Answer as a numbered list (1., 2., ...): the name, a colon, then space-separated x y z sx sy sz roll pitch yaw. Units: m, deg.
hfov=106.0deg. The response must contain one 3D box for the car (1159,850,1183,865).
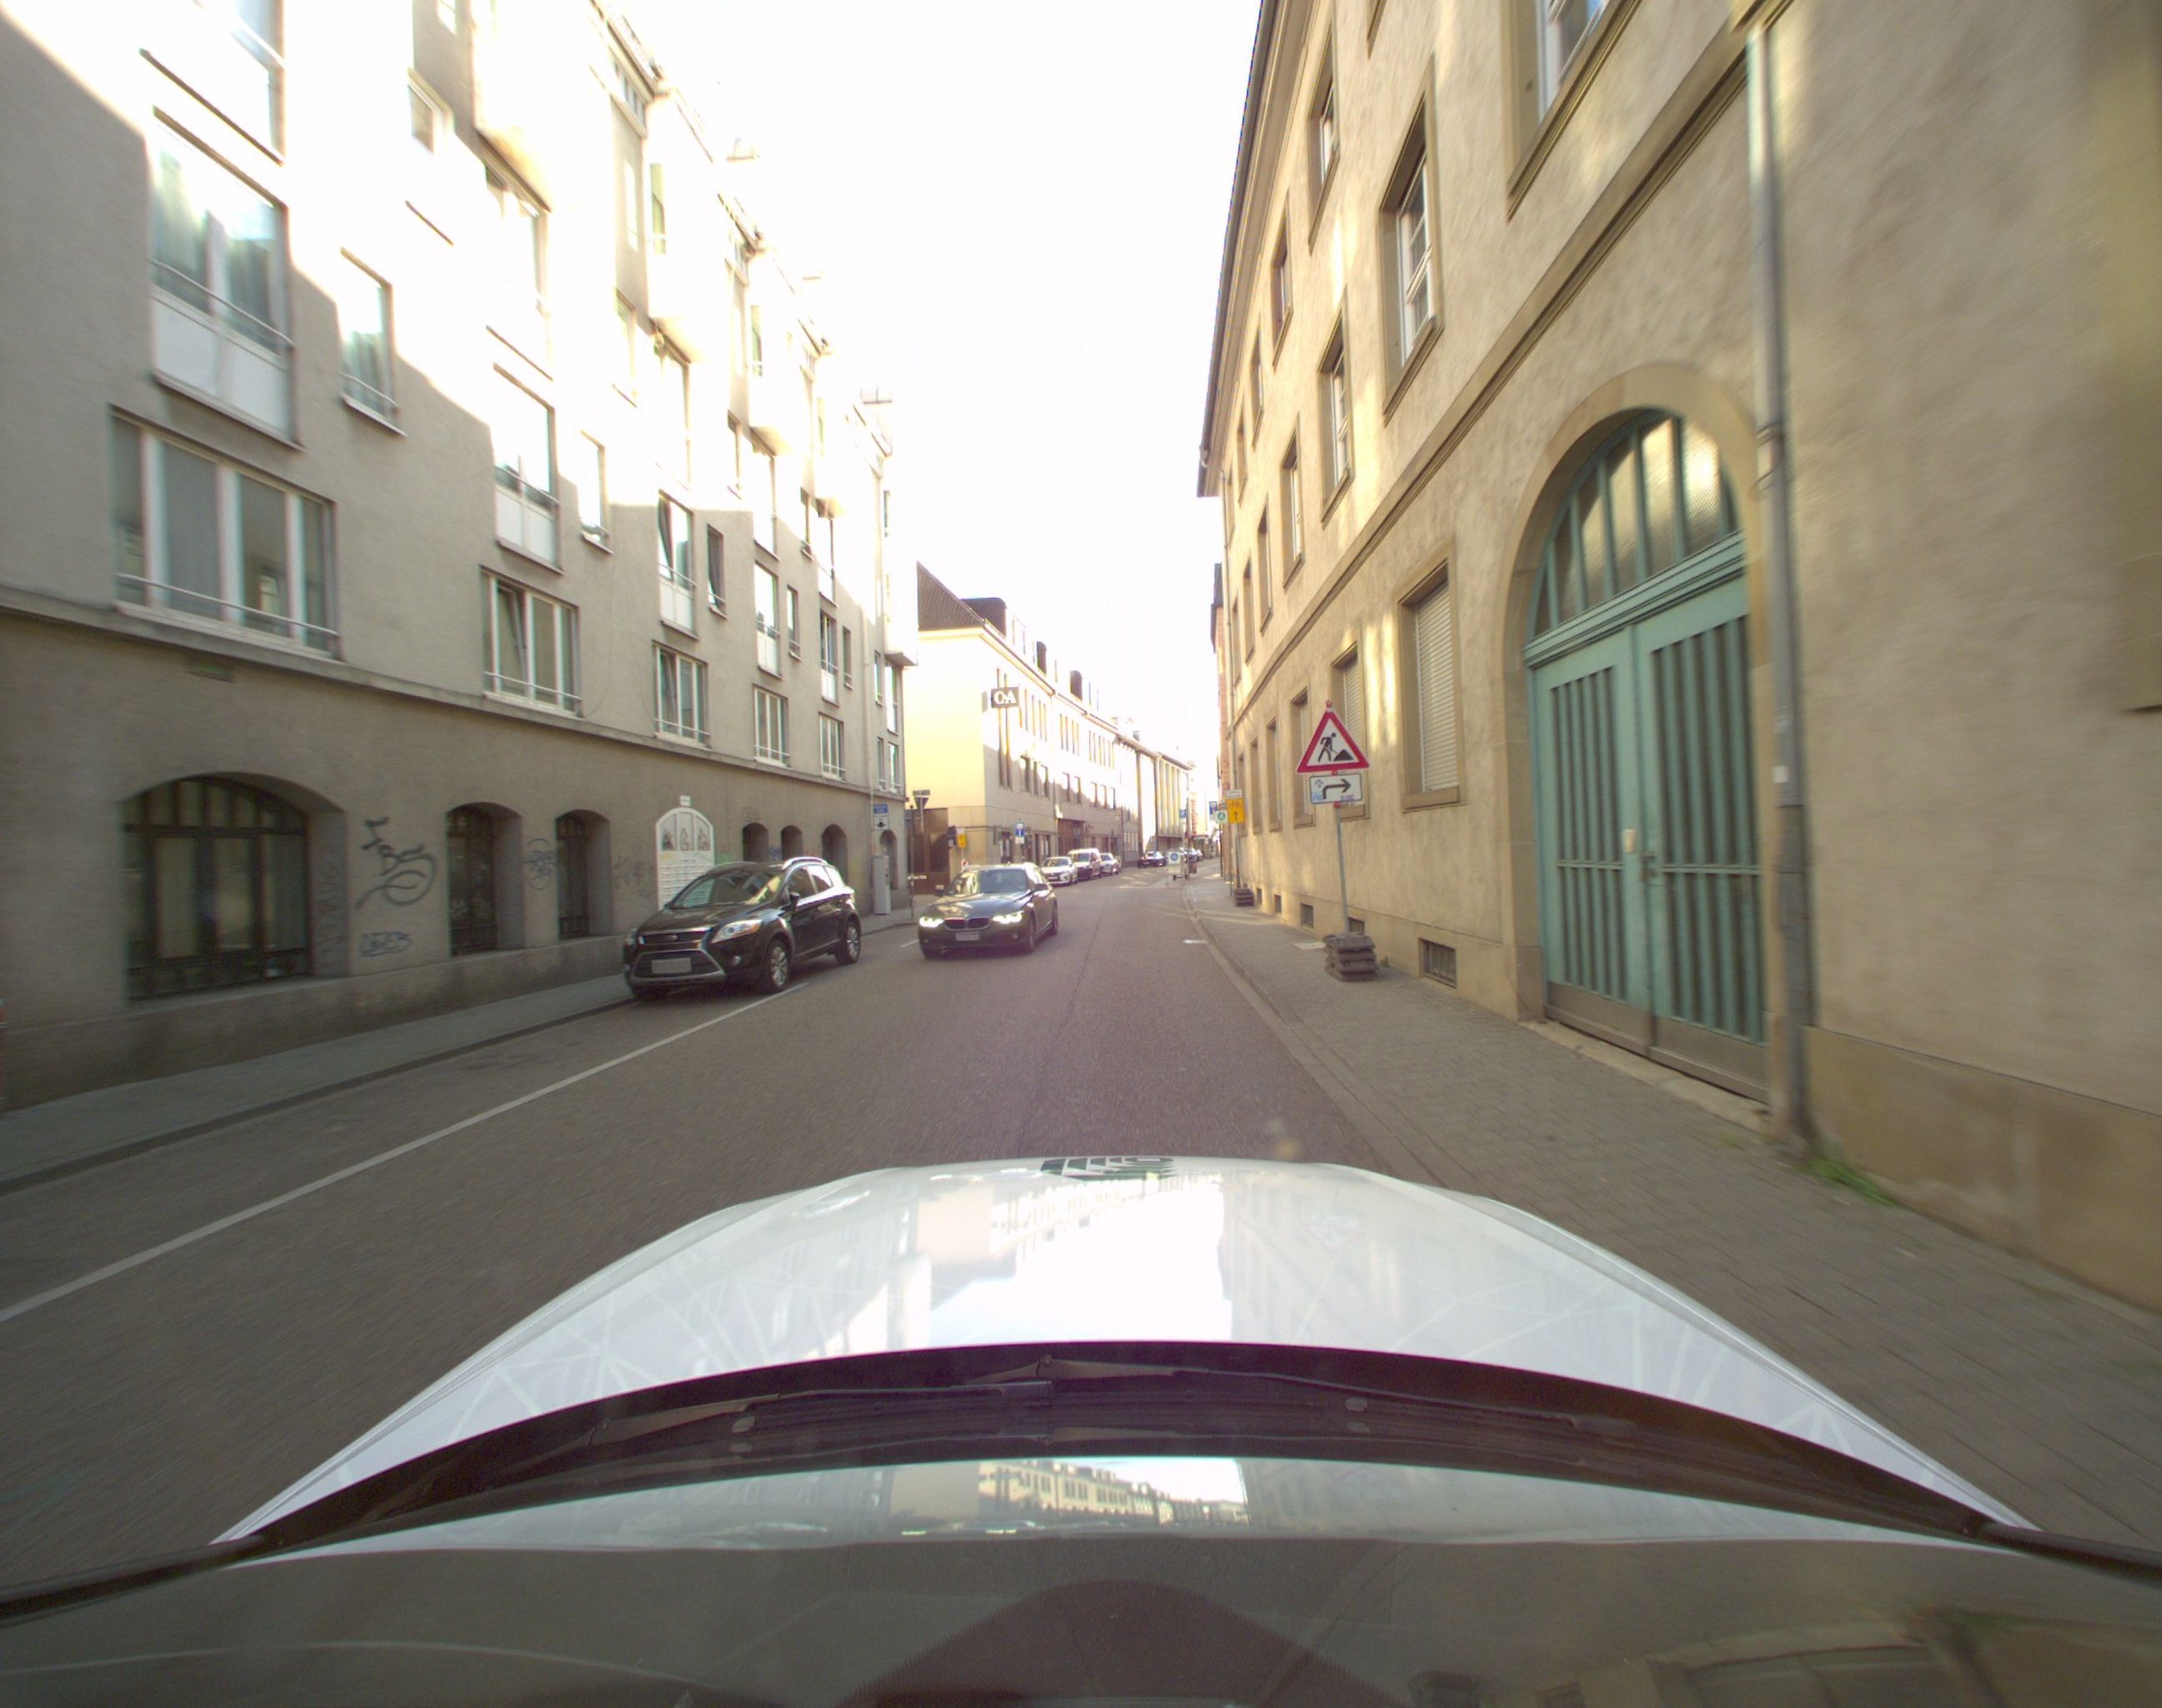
1. car: 8.856 0.317 80.113 1.711 1.340 4.017 -3 0 15

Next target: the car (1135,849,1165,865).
1. car: 6.278 0.246 73.863 1.867 1.332 4.117 -2 0 15

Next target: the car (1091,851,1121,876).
1. car: 1.668 0.586 53.774 1.263 1.507 3.413 -4 0 12

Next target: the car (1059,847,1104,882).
1. car: 0.101 0.571 47.693 1.659 1.818 4.566 -4 0 11

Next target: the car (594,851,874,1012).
1. car: -4.514 0.886 11.420 1.732 1.711 4.195 -5 0 4

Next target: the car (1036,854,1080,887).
1. car: -1.151 0.817 41.907 1.662 1.507 3.800 -4 0 6

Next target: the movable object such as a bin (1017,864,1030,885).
1. movable object such as a bin: -3.067 1.090 43.233 0.606 1.060 0.714 0 0 2

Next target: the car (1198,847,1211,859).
1. car: 16.706 -0.121 110.048 1.328 1.494 3.361 -2 0 15

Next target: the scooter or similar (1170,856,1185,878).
1. scooter or similar: 5.050 0.700 42.638 0.766 1.136 0.270 0 0 8

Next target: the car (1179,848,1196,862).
1. car: 12.161 0.054 93.035 1.328 1.494 3.525 -2 0 15

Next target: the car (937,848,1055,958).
1. car: -1.434 0.749 14.350 1.712 1.578 4.183 -2 0 -5
